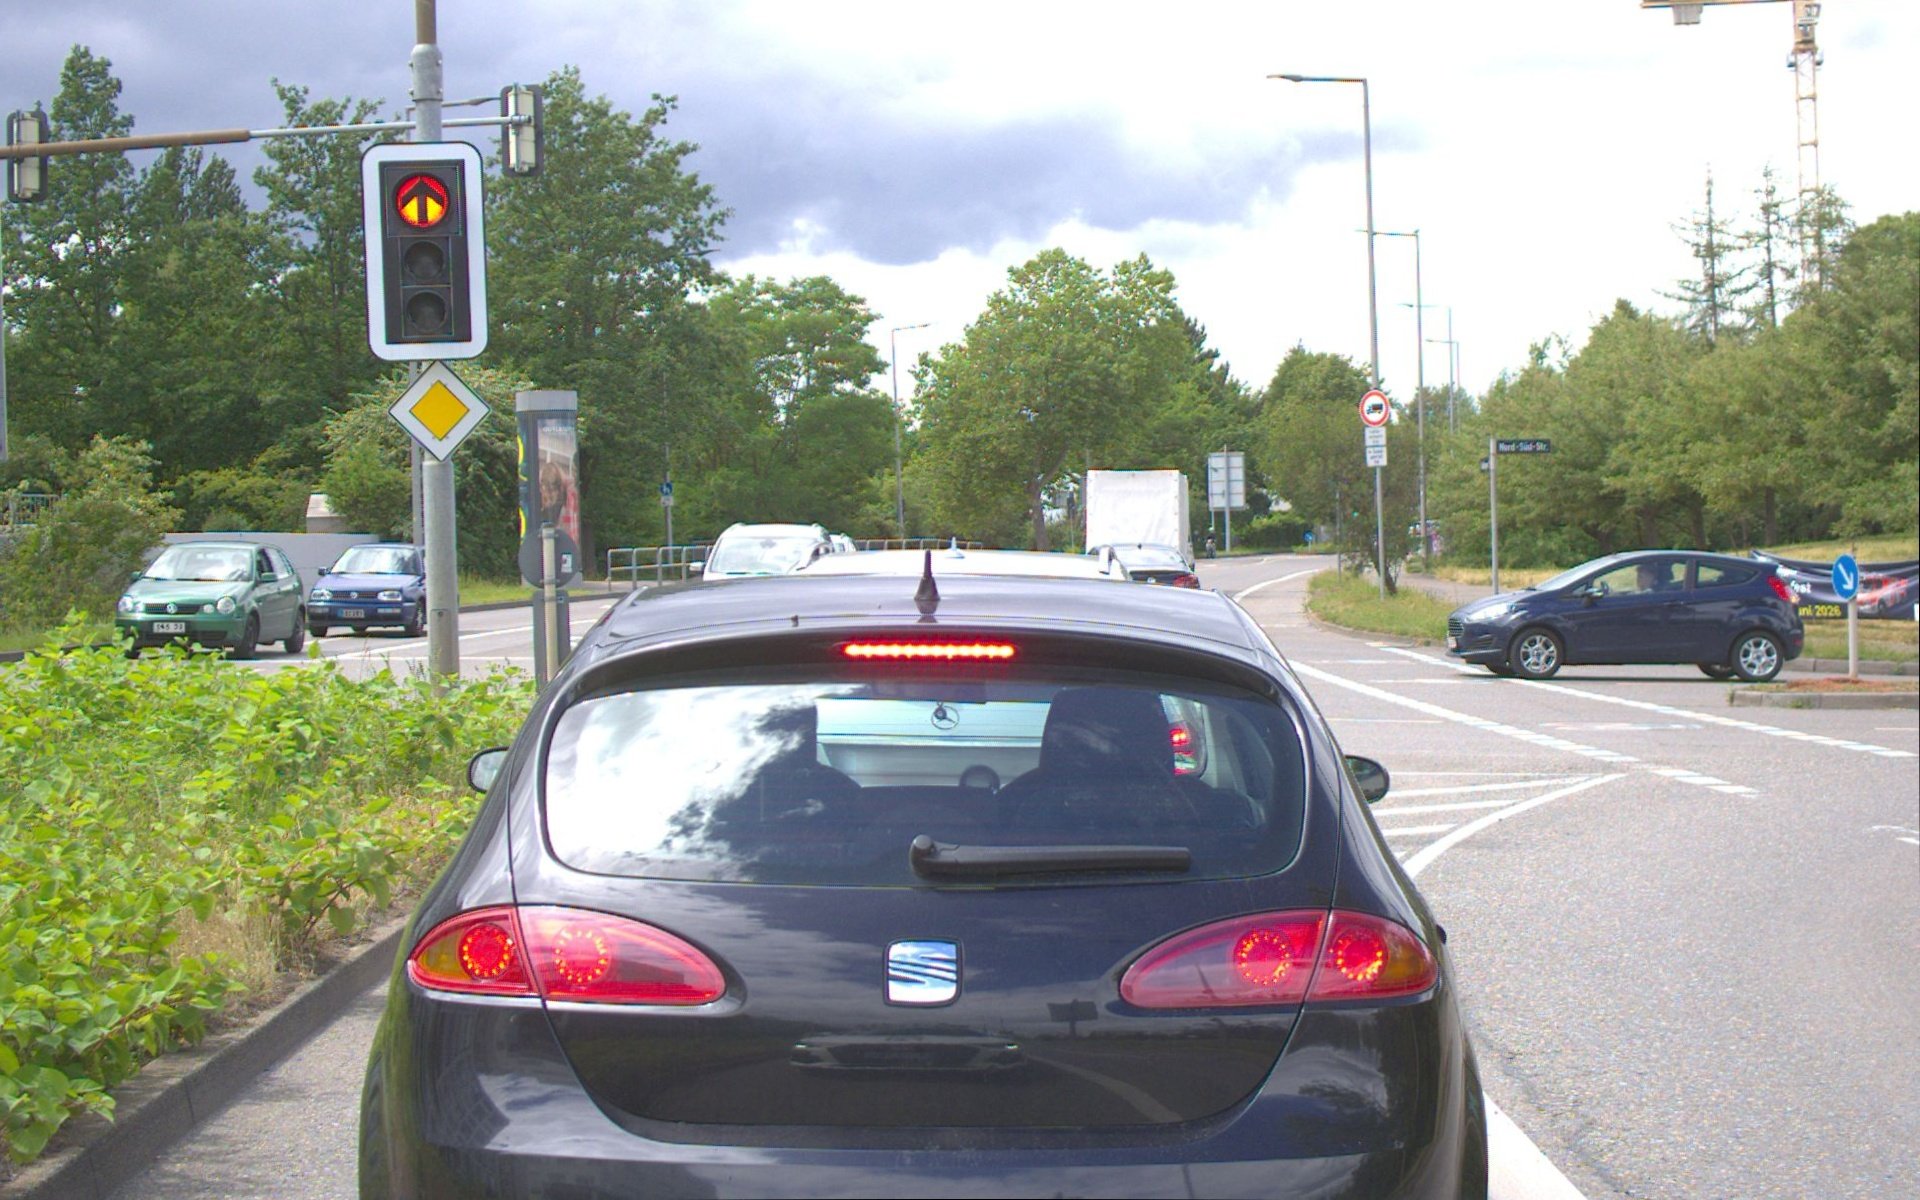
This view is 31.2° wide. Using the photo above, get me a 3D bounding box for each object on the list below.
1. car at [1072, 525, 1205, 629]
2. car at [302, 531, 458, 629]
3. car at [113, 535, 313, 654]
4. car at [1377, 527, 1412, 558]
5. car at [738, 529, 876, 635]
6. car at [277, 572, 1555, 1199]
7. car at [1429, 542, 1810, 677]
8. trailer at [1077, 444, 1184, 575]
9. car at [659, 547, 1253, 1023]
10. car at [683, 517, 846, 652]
[{"bbox_3d":[2.810,-0.394,54.089,1.994,1.560,4.470,0,1,3],"label":"car"},{"bbox_3d":[-8.853,-0.337,52.753,1.554,1.414,3.895,0,1,3],"label":"car"},{"bbox_3d":[-9.377,-0.105,43.409,1.605,1.427,3.752,0,1,2],"label":"car"},{"bbox_3d":[22.872,-3.027,180.942,1.668,1.590,3.998,1,1,10],"label":"car"},{"bbox_3d":[-2.289,-0.309,52.285,1.660,1.513,4.084,1,1,3],"label":"car"},{"bbox_3d":[-0.076,0.685,6.354,1.711,1.412,3.459,1,1,0],"label":"car"},{"bbox_3d":[7.405,0.093,38.812,3.878,1.441,1.760,1,1,-4],"label":"car"},{"bbox_3d":[4.176,-2.171,83.958,2.491,3.063,5.586,1,1,3],"label":"trailer"},{"bbox_3d":[0.007,0.559,12.614,1.834,1.462,3.751,1,1,1],"label":"car"},{"bbox_3d":[-2.571,-0.255,46.207,1.820,1.681,4.645,1,1,1],"label":"car"}]
